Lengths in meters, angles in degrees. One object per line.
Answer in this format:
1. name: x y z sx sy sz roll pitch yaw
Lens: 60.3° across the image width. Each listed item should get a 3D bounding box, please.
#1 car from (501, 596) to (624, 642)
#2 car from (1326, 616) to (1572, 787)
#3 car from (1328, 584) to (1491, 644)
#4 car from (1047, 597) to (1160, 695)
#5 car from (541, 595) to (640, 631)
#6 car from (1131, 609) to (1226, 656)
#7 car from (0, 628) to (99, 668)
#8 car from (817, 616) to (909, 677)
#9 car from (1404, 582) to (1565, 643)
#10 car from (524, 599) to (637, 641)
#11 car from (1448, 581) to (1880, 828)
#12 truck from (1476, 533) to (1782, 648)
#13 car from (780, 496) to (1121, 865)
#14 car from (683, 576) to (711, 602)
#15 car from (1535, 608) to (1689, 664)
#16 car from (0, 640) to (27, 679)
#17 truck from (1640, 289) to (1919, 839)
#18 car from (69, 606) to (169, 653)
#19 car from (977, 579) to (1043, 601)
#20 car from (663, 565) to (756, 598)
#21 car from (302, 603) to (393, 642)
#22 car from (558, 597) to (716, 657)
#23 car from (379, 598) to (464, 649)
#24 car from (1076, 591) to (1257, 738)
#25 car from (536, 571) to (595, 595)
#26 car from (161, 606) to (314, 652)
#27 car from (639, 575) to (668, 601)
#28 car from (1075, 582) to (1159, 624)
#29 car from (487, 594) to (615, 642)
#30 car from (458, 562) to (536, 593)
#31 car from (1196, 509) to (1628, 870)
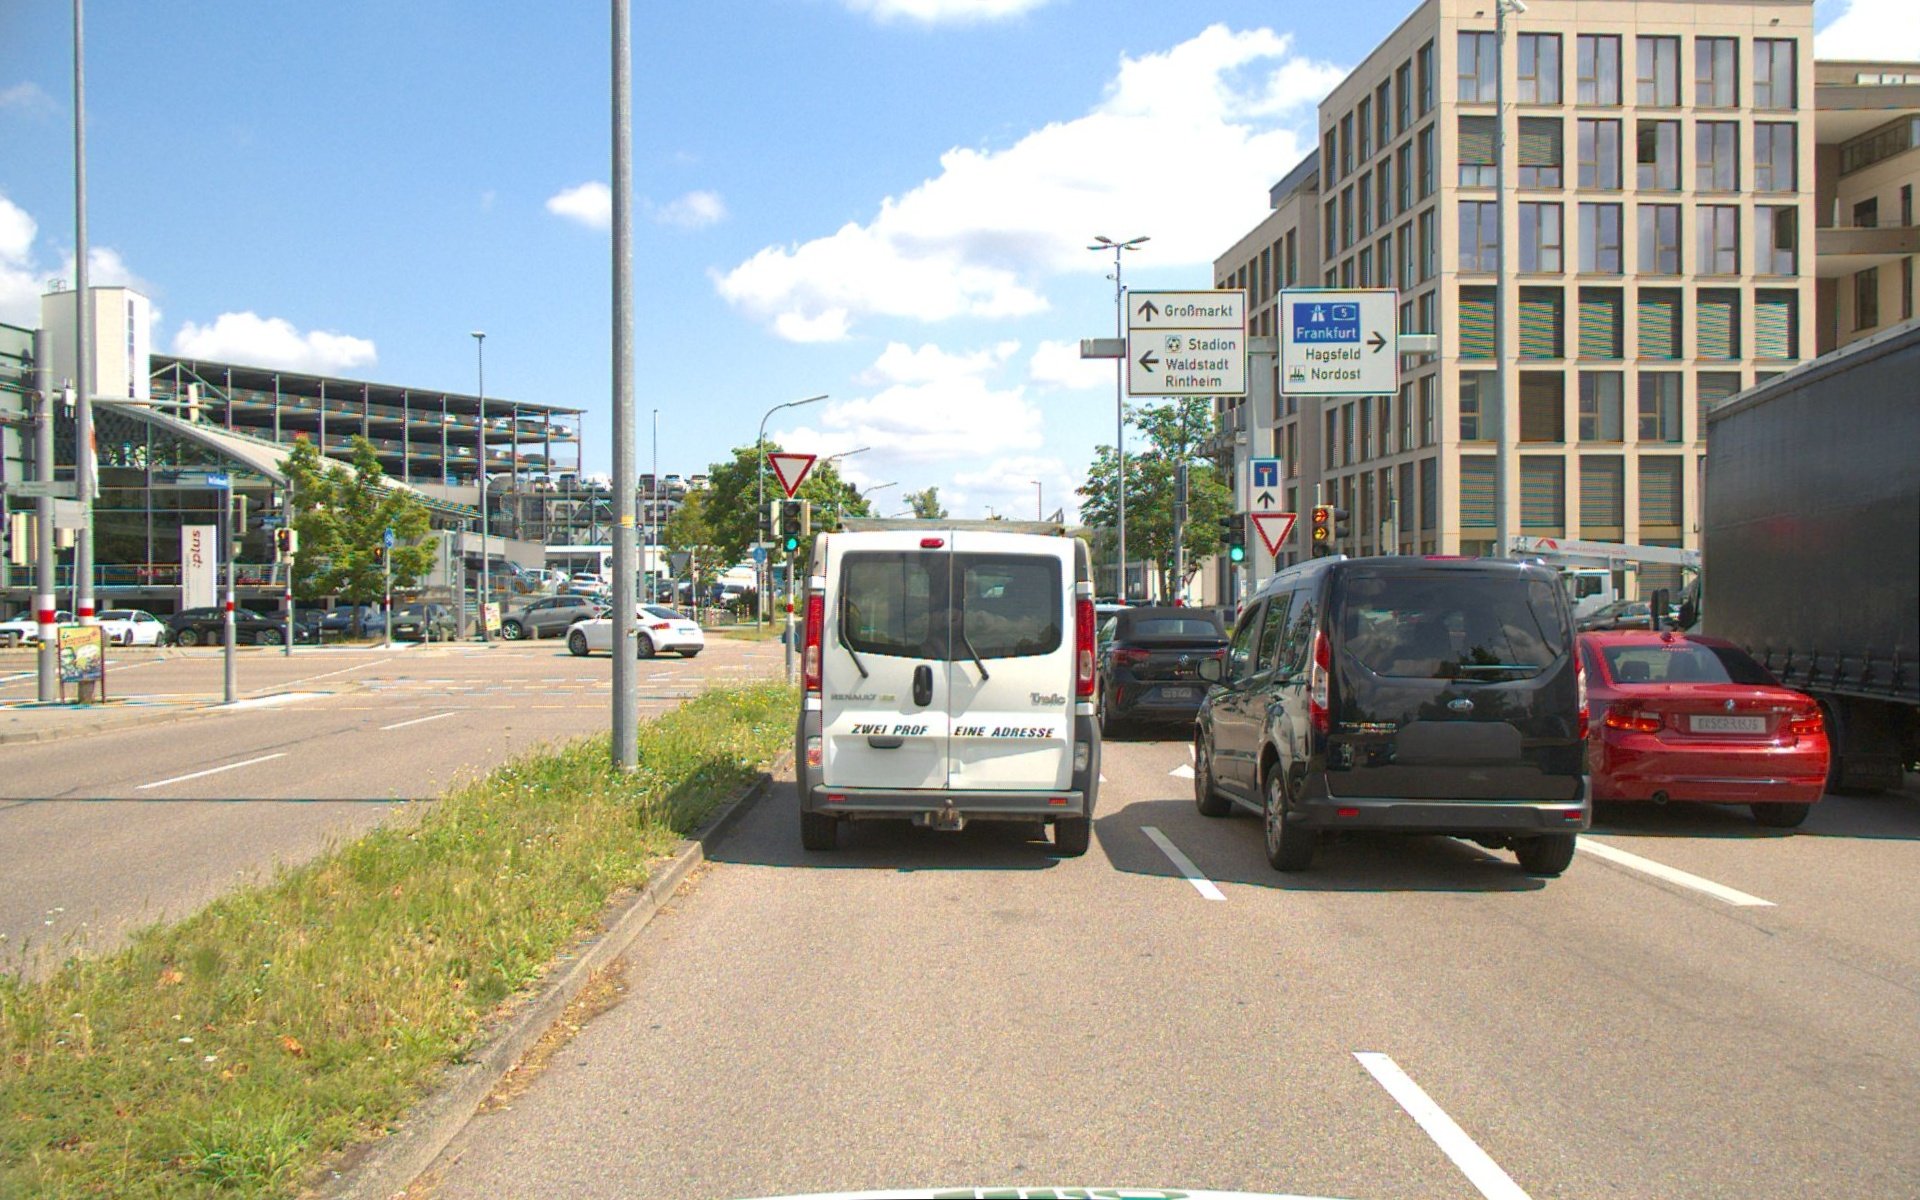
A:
1. car: -15.837 0.767 66.117 4.484 1.707 1.905 1 -1 -4
2. car: 5.883 1.145 20.432 1.821 1.684 4.220 5 0 2
3. car: 14.965 0.490 55.203 4.883 1.870 1.996 1 -1 -8
4. car: 2.568 0.802 30.325 1.737 1.658 4.000 0 0 0
5. car: -18.303 0.650 82.117 4.484 1.707 1.905 1 -1 -4
6. car: 10.011 1.476 75.954 3.913 2.049 1.996 1 -1 -9
7. car: -32.072 1.647 57.827 1.864 1.320 4.584 1 -1 -5
8. car: -2.067 0.981 36.084 1.737 1.222 4.000 0 0 0
9. car: 15.355 0.377 48.529 4.119 1.655 1.824 1 -1 -8
10. car: -16.540 0.879 72.258 4.484 1.707 1.905 1 -1 -4
11. car: 5.523 0.770 13.613 1.820 1.684 4.219 1 -1 1
12. truck: 22.612 -0.275 56.047 9.568 3.617 2.670 1 -1 -8
13. car: -0.082 0.474 11.715 1.933 2.096 4.563 0 0 -1
14. car: -17.075 -0.698 107.563 1.531 1.579 3.598 1 -1 -6
15. car: 20.439 1.134 51.970 4.113 1.655 1.827 1 -1 -2
16. car: -34.372 2.084 57.251 1.864 1.320 4.584 1 -1 -5
17. truck: 9.316 -0.183 15.890 3.143 4.098 9.077 1 -1 9
18. car: -29.379 1.066 57.911 1.755 1.490 3.995 -1 -3 -5
19. car: 4.878 -0.960 162.324 6.214 2.049 2.571 1 -1 -3
20. car: -17.391 -1.258 115.033 6.264 2.139 1.763 1 -1 -6
21. car: -21.709 0.803 58.839 1.864 1.320 4.584 1 -1 -5
22. car: -8.393 0.692 42.871 3.920 1.467 1.853 0 -1 36
23. car: -19.173 0.839 59.034 1.864 1.707 4.584 1 -1 -5
24. car: 2.486 0.744 20.767 1.738 1.658 3.999 0 0 -1
25. car: -27.391 -1.174 114.854 3.917 1.579 1.759 1 -1 -13
26. car: -25.697 1.046 58.972 4.649 1.490 1.793 -1 -3 -6
27. car: -19.994 -0.754 108.017 1.531 1.579 3.597 1 -1 -6
28. car: 8.100 0.156 85.537 3.913 2.049 1.996 1 -1 -9
29. car: -15.724 0.699 63.764 4.484 1.707 1.905 1 -1 -4
30. car: -28.657 -1.379 102.474 4.356 1.833 1.762 1 -1 -7
31. car: 2.737 0.496 10.956 1.786 1.938 4.000 0 0 0
